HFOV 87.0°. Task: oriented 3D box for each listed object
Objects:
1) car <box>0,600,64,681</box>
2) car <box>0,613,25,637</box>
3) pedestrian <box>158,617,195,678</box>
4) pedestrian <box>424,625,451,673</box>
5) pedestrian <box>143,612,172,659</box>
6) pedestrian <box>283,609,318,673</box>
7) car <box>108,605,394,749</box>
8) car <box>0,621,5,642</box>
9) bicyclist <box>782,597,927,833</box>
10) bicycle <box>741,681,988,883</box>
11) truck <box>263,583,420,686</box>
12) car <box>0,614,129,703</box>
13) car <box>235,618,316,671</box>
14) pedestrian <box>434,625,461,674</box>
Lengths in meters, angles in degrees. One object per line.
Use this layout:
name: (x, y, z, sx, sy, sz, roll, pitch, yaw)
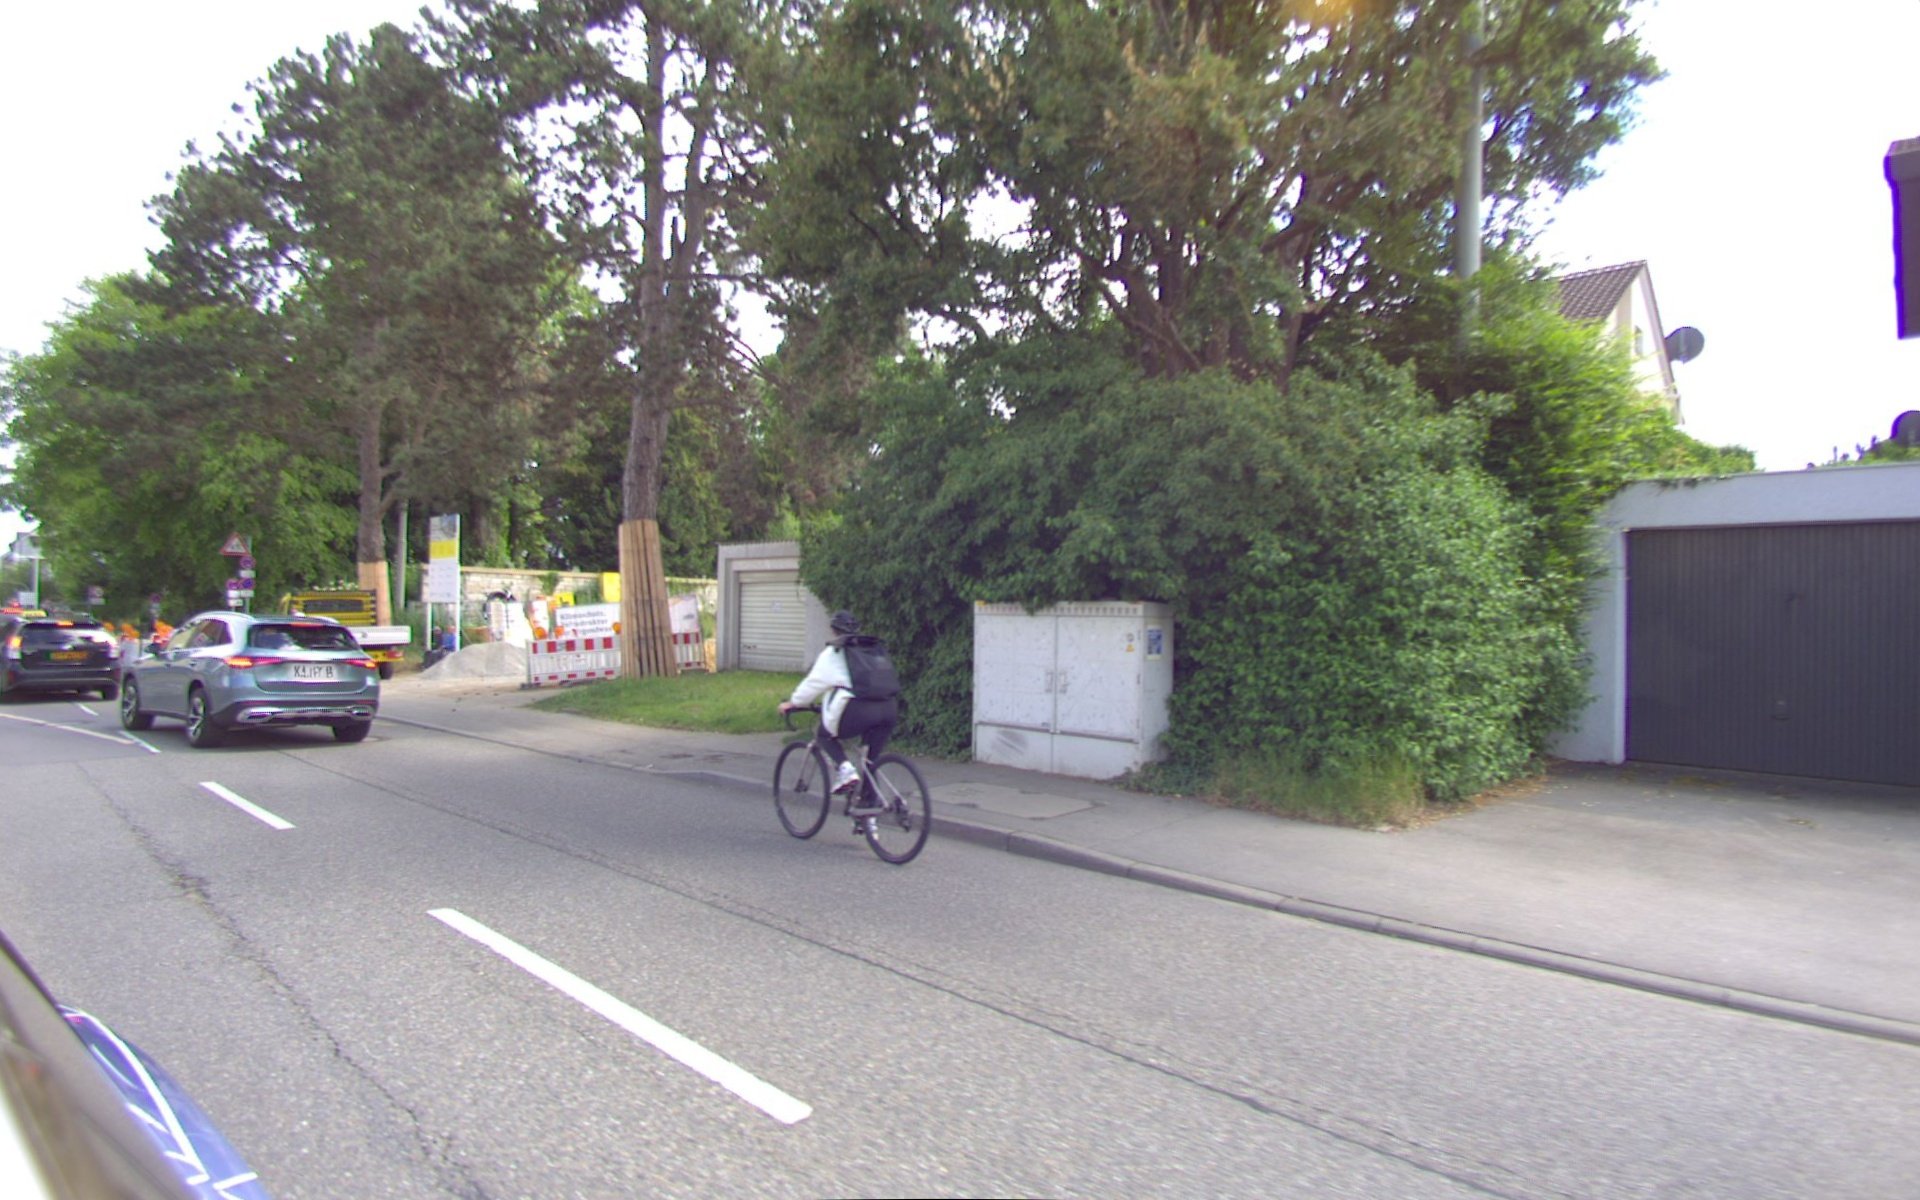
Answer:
car: (-25.099, 1.053, 26.531, 4.913, 1.967, 1.888, -2, -3, 43)
car: (-67.873, 1.728, 71.932, 4.164, 1.603, 1.737, 0, -3, 44)
pedestrian: (-20.882, 1.262, 26.985, 0.563, 1.613, 0.537, 0, 0, -1)
pedestrian: (-15.508, 1.436, 30.054, 0.566, 1.396, 0.540, 0, 0, -9)
pedestrian: (-32.676, 1.426, 41.208, 0.823, 1.861, 1.023, 0, 0, -43)
pedestrian: (-16.415, 1.012, 25.186, 0.654, 1.559, 0.568, 0, 0, 39)
car: (-9.589, 0.955, 13.563, 4.528, 1.630, 1.848, -2, -3, 38)
car: (-81.480, 2.593, 84.904, 4.164, 1.603, 1.737, 0, -3, 44)
bicyclist: (-0.709, 0.730, 6.747, 0.864, 1.460, 0.464, -1, -4, 41)
bicycle: (-0.686, 1.128, 6.713, 1.869, 1.095, 0.449, -1, -4, 41)
truck: (-16.643, 0.827, 27.054, 2.279, 2.438, 6.097, 0, 0, -45)
car: (-17.773, 1.072, 19.672, 4.527, 1.539, 1.845, -1, -3, 42)
car: (-21.077, 1.318, 31.101, 1.604, 1.519, 3.588, 0, -1, -42)
pedestrian: (-14.884, 1.425, 29.406, 0.566, 1.396, 0.540, 0, 0, -9)
